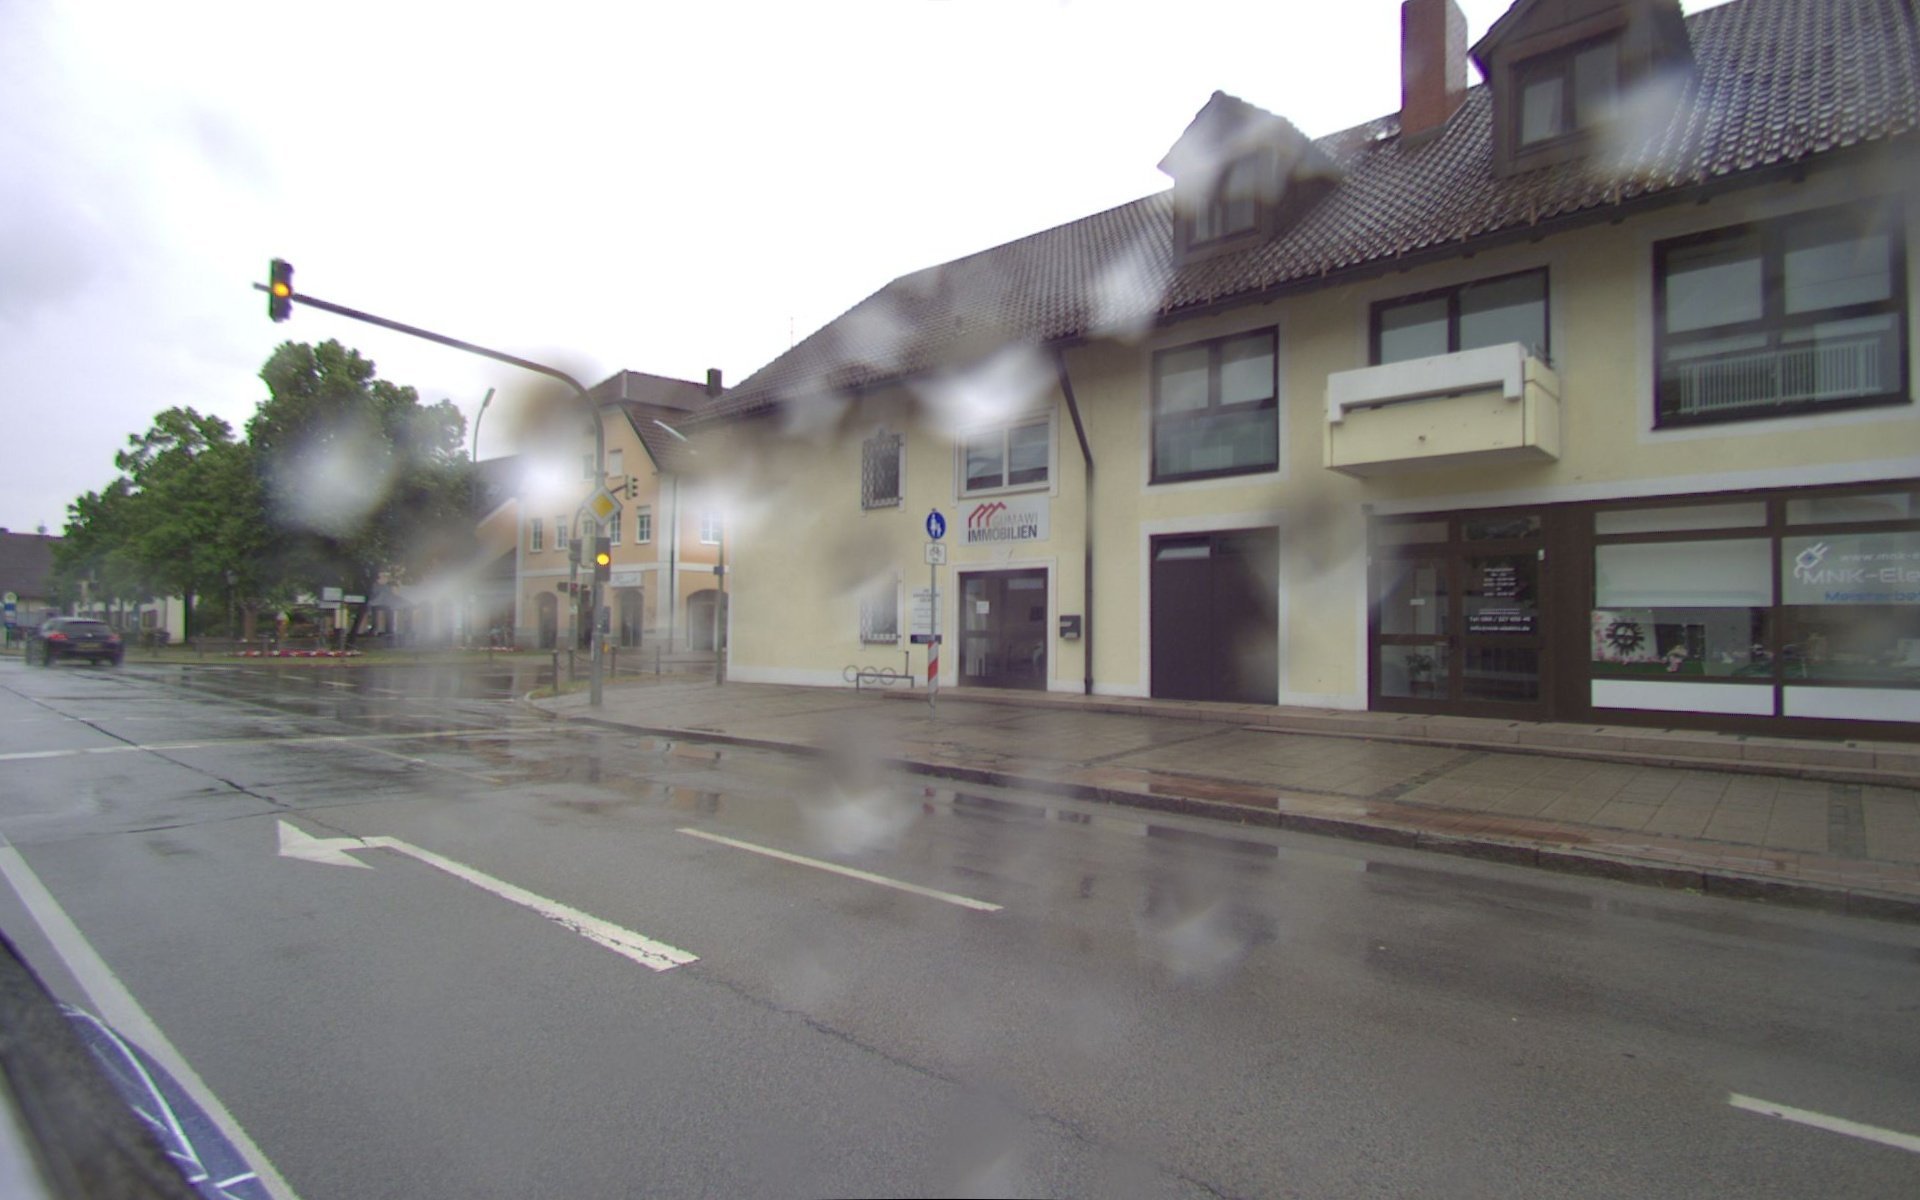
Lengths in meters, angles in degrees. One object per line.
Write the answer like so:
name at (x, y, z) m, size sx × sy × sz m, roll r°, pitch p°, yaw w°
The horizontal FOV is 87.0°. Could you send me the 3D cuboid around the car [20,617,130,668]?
car at (-26.343, 1.250, 30.086) m, size 3.883 × 1.418 × 1.975 m, roll -1°, pitch -3°, yaw 42°
